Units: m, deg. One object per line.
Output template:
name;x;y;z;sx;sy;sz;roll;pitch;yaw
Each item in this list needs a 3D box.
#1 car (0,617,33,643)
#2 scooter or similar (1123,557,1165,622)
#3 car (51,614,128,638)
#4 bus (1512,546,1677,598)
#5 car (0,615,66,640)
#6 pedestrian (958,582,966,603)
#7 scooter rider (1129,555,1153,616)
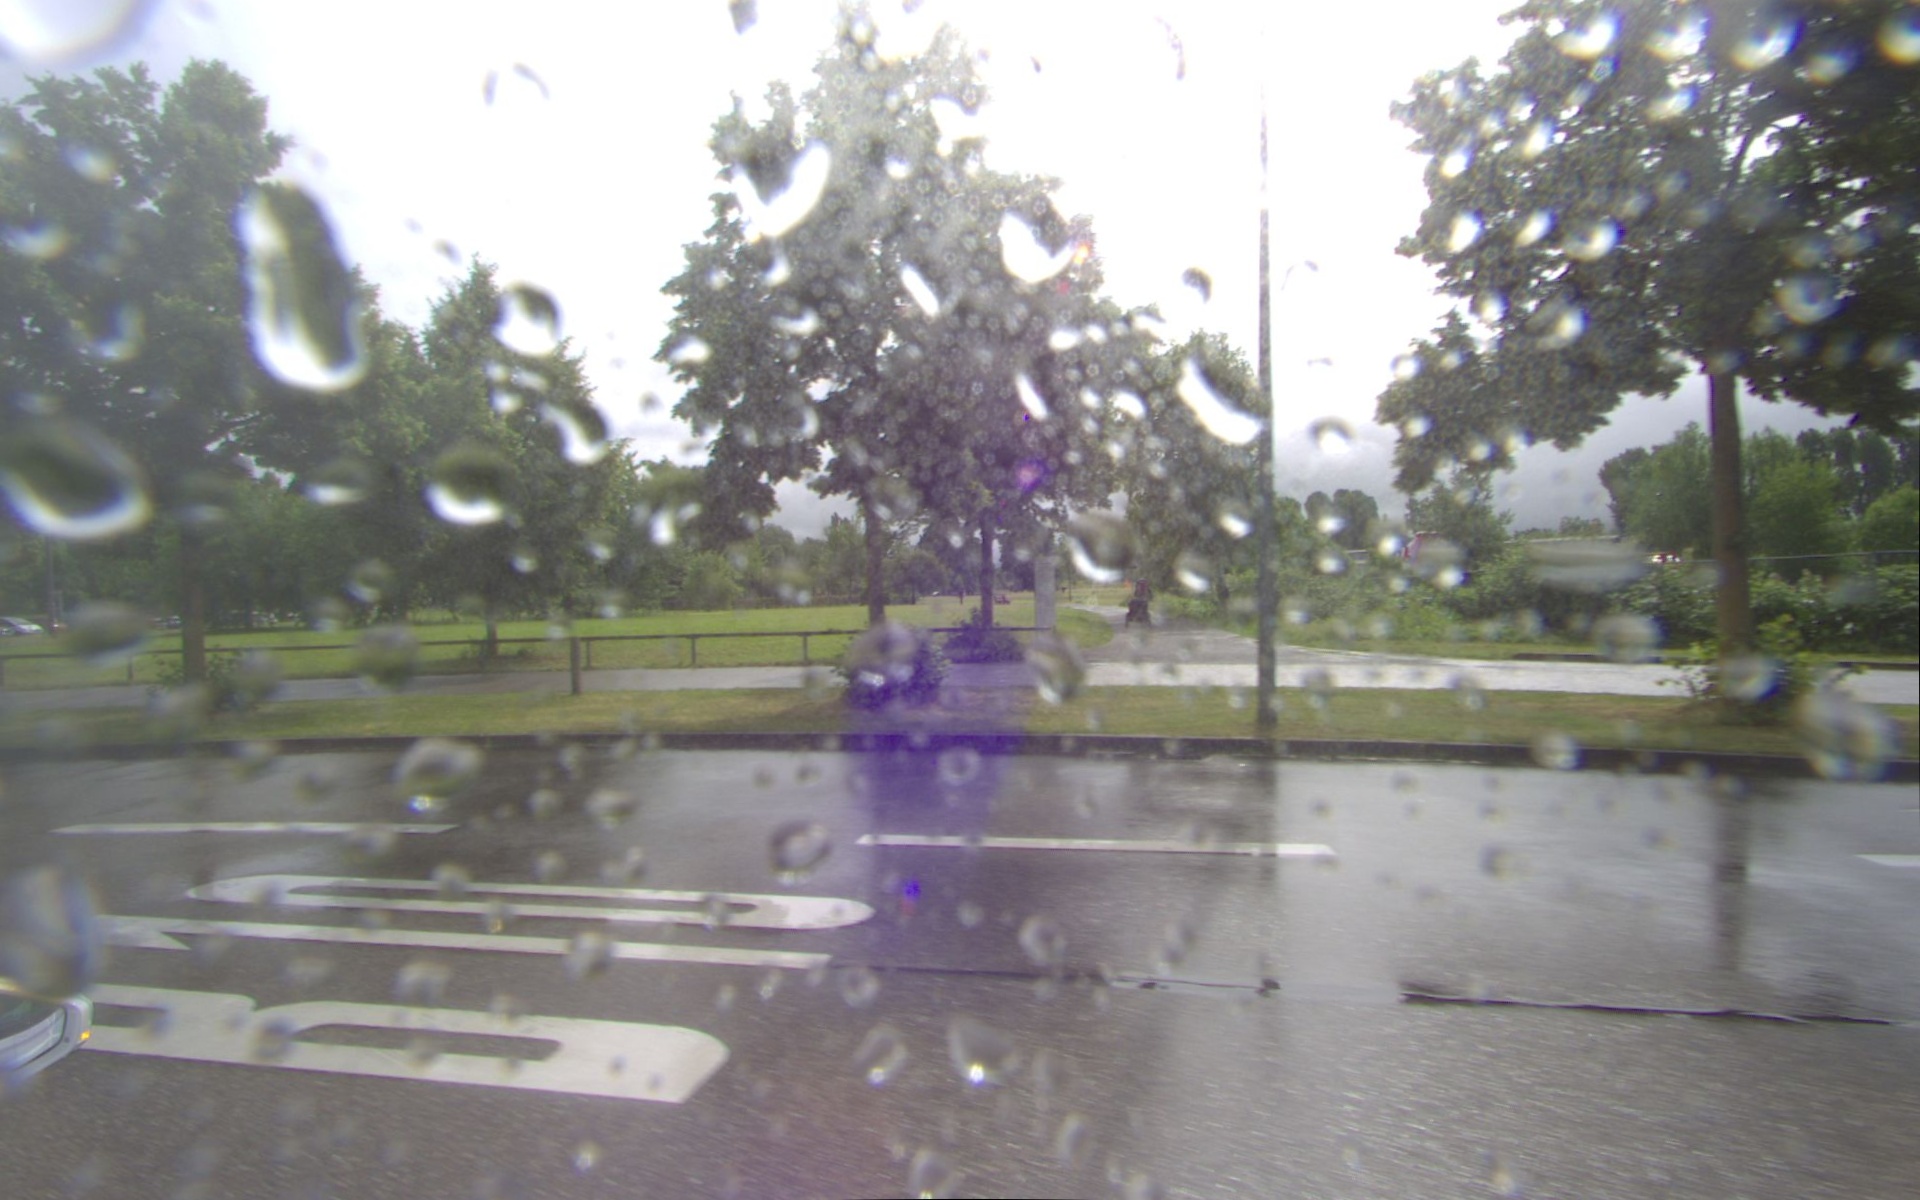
car;-63.507;2.015;65.454;3.901;1.580;1.849;-2;1;-3
scooter or similar;6.082;-0.284;33.335;1.216;2.039;3.409;-1;-1;8
car;-63.497;1.871;73.067;3.901;1.580;1.849;-2;1;-3
bus;49.638;-2.089;78.804;1.977;3.504;10.900;0;-1;-39
car;-64.434;1.877;68.998;3.901;1.580;1.849;-2;1;-3
pedestrian;0.159;-0.643;83.404;0.594;1.754;0.599;-1;0;-11
scooter rider;6.166;-0.490;34.085;0.692;2.040;0.770;-1;0;4
